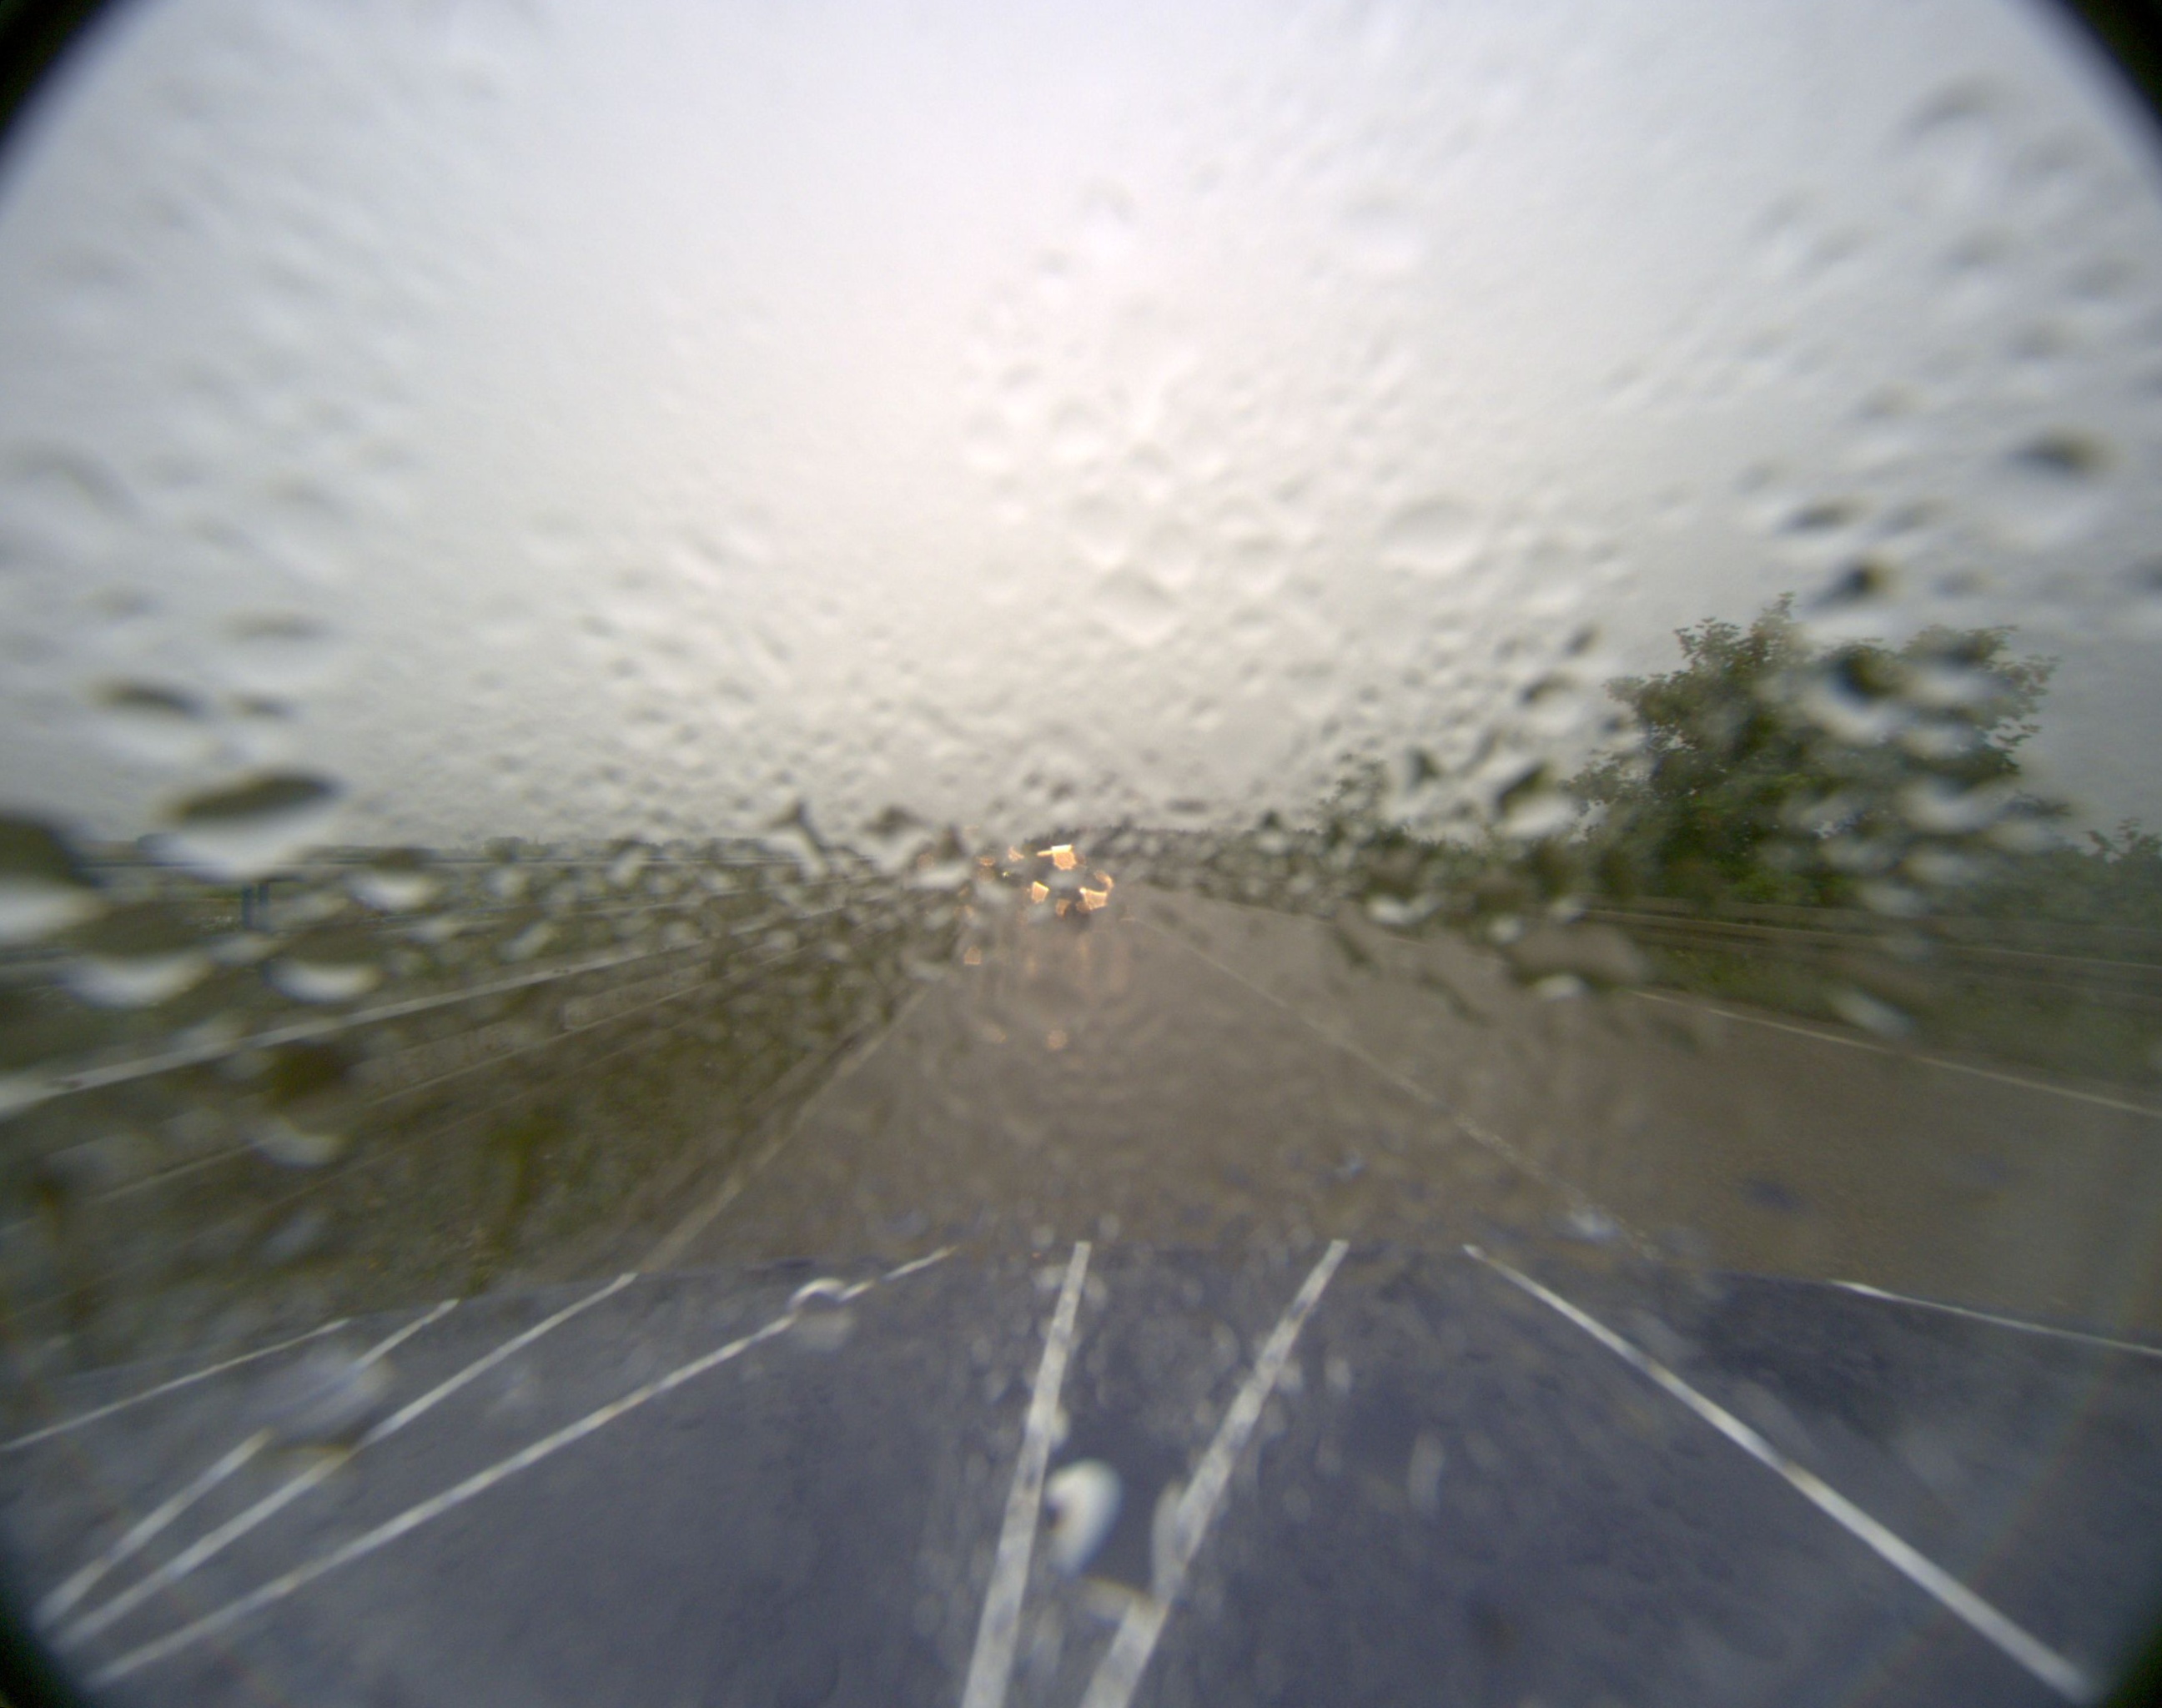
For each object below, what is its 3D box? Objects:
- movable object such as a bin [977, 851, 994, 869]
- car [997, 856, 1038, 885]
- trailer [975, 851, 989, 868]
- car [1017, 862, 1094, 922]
[{"bbox_3d":[-18.785,1.124,149.145,2.758,3.425,4.638,2,0,-12],"label":"movable object such as a bin"},{"bbox_3d":[-3.364,0.837,39.838,1.820,1.382,4.065,-1,0,-9],"label":"car"},{"bbox_3d":[-24.783,1.395,190.530,2.827,3.946,13.725,1,-1,-10],"label":"trailer"},{"bbox_3d":[-0.775,0.926,20.094,1.820,1.382,4.067,0,0,-5],"label":"car"}]
